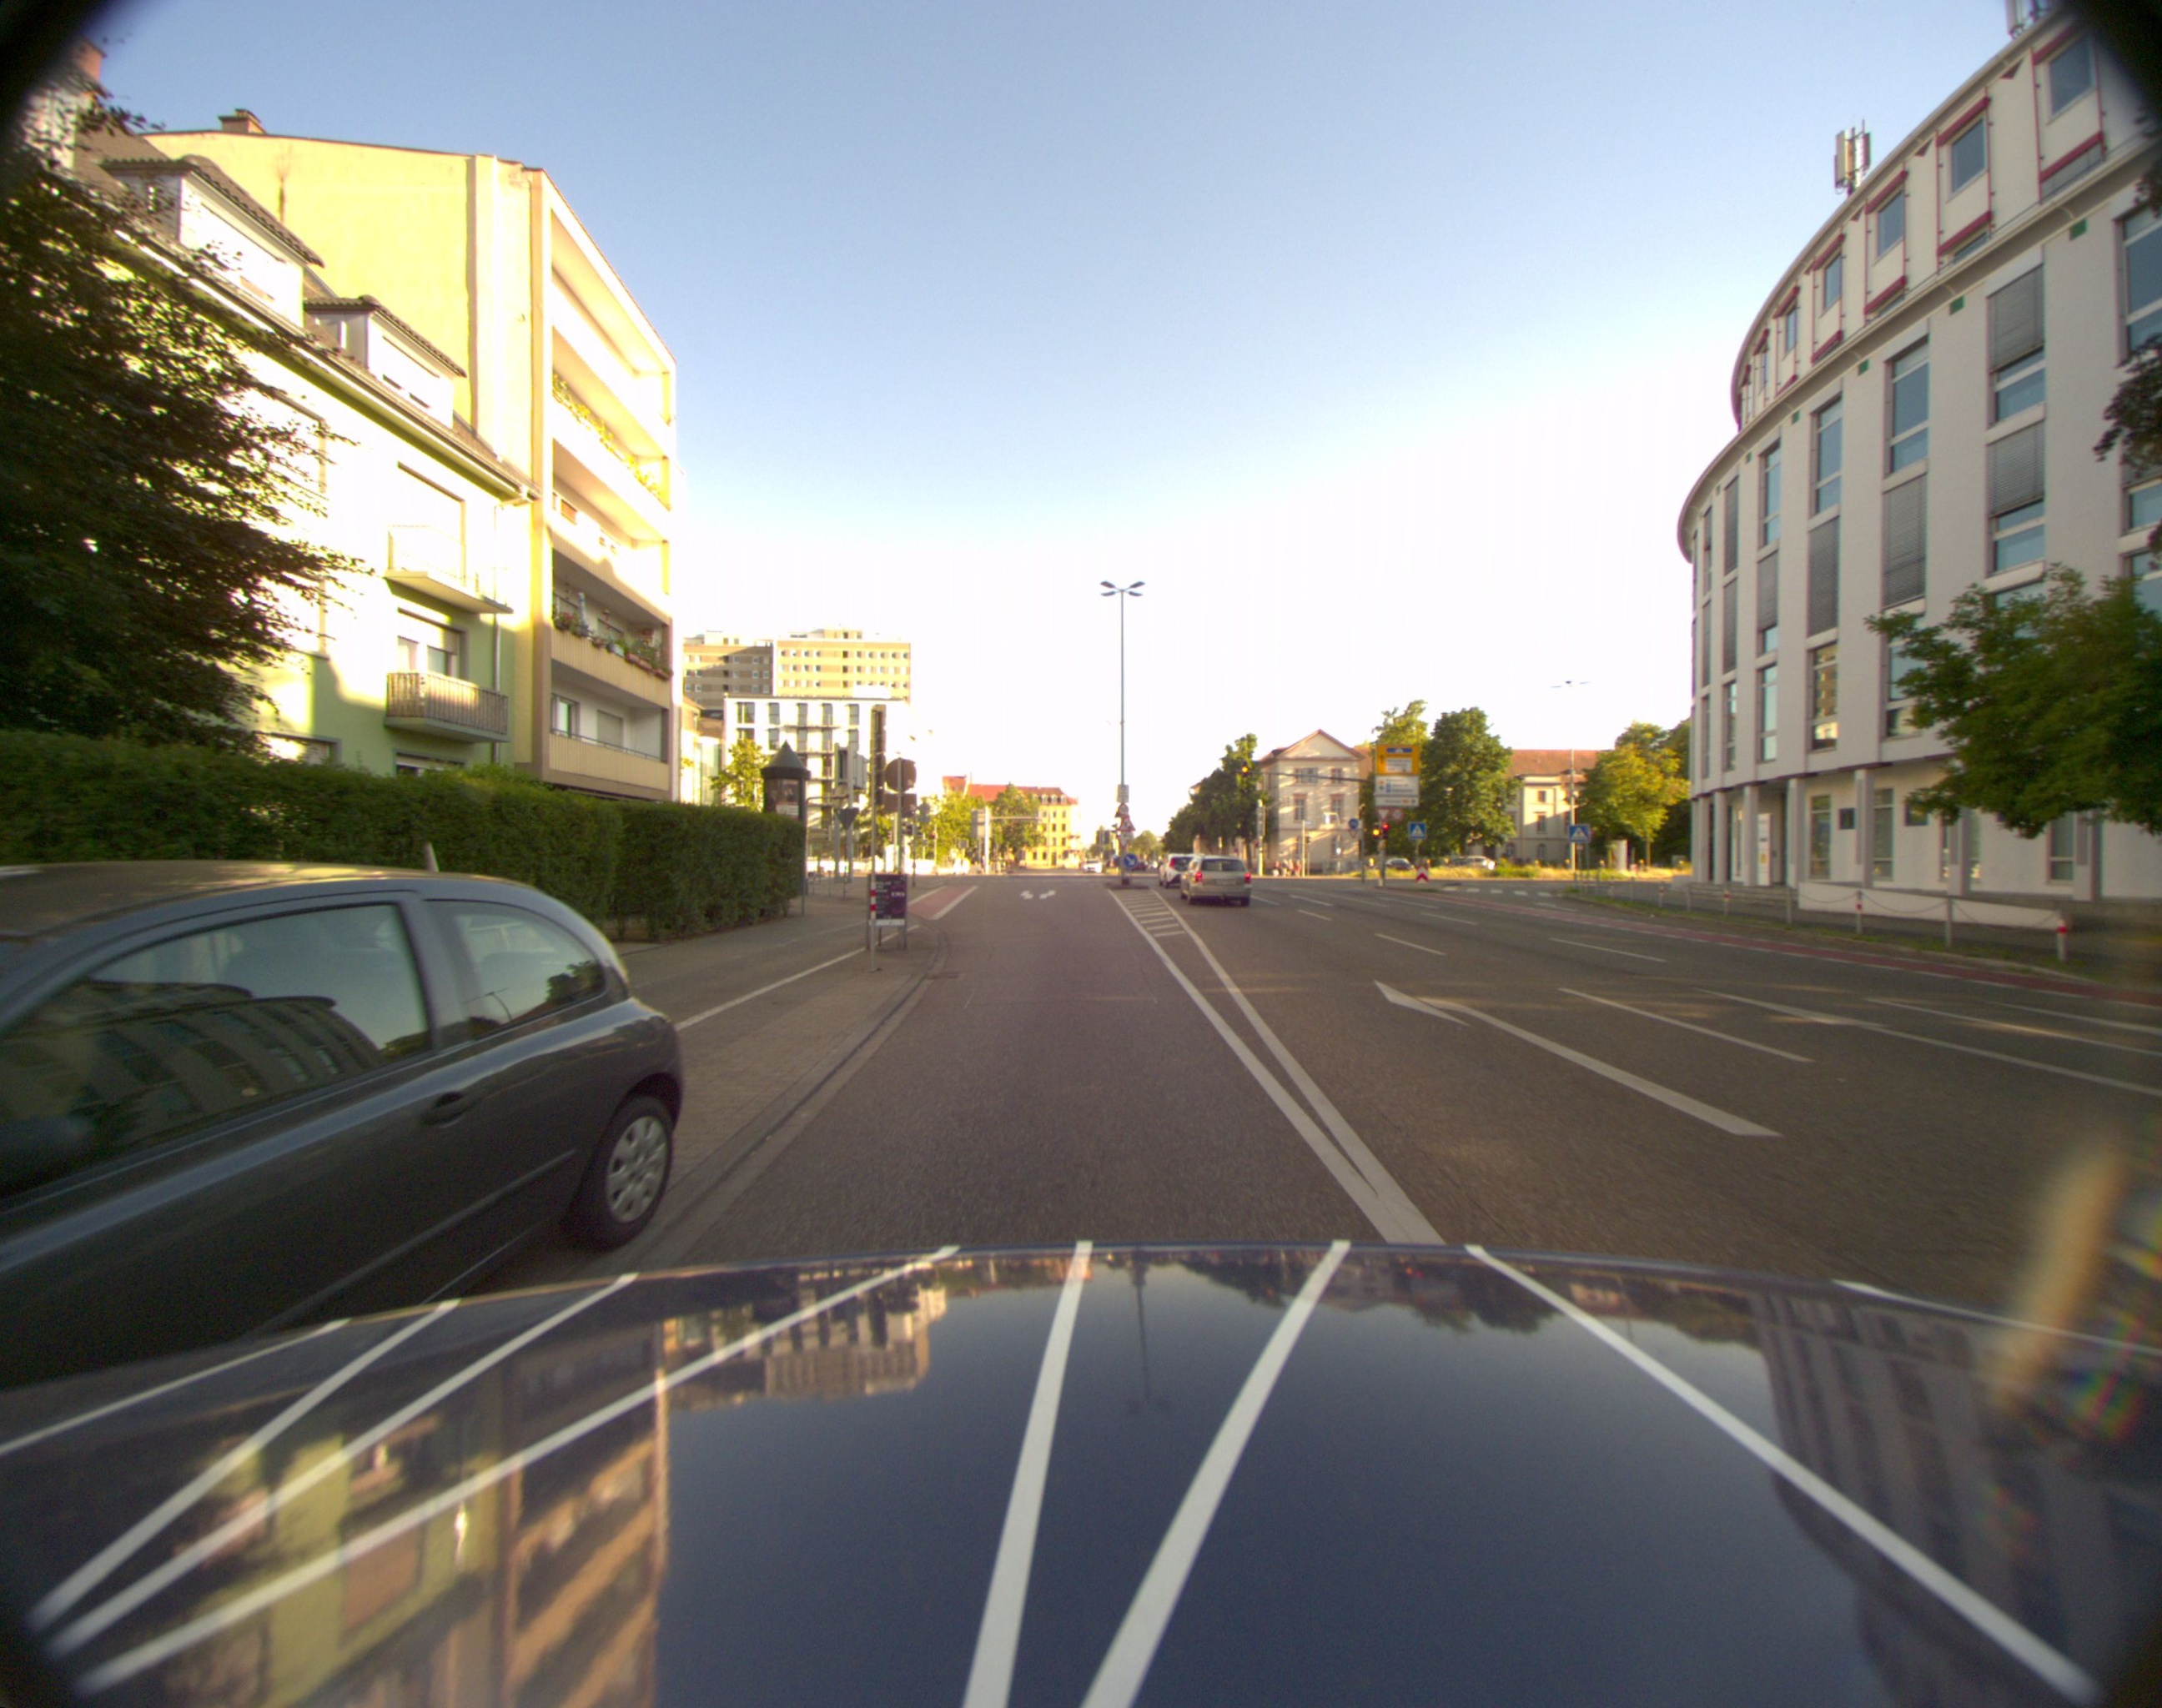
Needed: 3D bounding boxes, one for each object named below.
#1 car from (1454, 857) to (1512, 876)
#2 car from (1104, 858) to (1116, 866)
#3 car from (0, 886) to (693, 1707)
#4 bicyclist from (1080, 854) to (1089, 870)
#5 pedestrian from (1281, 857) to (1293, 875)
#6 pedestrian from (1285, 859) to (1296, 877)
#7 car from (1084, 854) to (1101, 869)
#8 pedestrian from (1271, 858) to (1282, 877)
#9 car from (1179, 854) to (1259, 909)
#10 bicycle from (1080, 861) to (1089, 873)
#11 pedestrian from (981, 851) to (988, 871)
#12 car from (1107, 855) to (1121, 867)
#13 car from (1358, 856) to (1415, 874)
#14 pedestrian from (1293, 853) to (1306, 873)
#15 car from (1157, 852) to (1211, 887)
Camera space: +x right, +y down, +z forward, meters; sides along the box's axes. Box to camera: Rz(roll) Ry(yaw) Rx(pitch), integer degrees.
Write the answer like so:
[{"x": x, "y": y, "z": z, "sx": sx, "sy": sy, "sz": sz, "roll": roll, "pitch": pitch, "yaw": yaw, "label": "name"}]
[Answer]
[{"x": 32.200, "y": 0.994, "z": 60.929, "sx": 3.646, "sy": 1.437, "sz": 1.999, "roll": 0, "pitch": 0, "yaw": -4, "label": "car"}, {"x": 4.829, "y": 1.354, "z": 128.153, "sx": 1.765, "sy": 1.454, "sz": 4.292, "roll": 0, "pitch": 0, "yaw": -2, "label": "car"}, {"x": -2.626, "y": 0.907, "z": 1.602, "sx": 1.737, "sy": 1.542, "sz": 3.646, "roll": 0, "pitch": 0, "yaw": 0, "label": "car"}, {"x": 0.328, "y": 0.786, "z": 74.395, "sx": 0.838, "sy": 1.594, "sz": 1.023, "roll": 0, "pitch": 0, "yaw": -2, "label": "bicyclist"}, {"x": 19.382, "y": 1.092, "z": 71.431, "sx": 0.678, "sy": 1.698, "sz": 1.084, "roll": 0, "pitch": 0, "yaw": -9, "label": "pedestrian"}, {"x": 18.671, "y": 1.236, "z": 67.689, "sx": 0.678, "sy": 1.641, "sz": 0.882, "roll": 0, "pitch": 0, "yaw": -9, "label": "pedestrian"}, {"x": 1.186, "y": 0.798, "z": 78.621, "sx": 1.764, "sy": 1.489, "sz": 3.708, "roll": 0, "pitch": 0, "yaw": 0, "label": "car"}, {"x": 17.316, "y": 1.175, "z": 67.428, "sx": 0.621, "sy": 1.641, "sz": 0.889, "roll": 0, "pitch": 0, "yaw": -9, "label": "pedestrian"}, {"x": 4.104, "y": 0.763, "z": 23.303, "sx": 1.832, "sy": 1.505, "sz": 4.605, "roll": 0, "pitch": 0, "yaw": 3, "label": "car"}, {"x": 0.311, "y": 1.240, "z": 74.234, "sx": 0.834, "sy": 1.101, "sz": 2.080, "roll": 0, "pitch": 0, "yaw": -2, "label": "bicycle"}, {"x": -8.897, "y": 0.627, "z": 70.167, "sx": 0.500, "sy": 1.866, "sz": 0.601, "roll": 0, "pitch": 0, "yaw": -29, "label": "pedestrian"}, {"x": 4.900, "y": 1.050, "z": 113.713, "sx": 1.832, "sy": 1.836, "sz": 4.946, "roll": 0, "pitch": 0, "yaw": -1, "label": "car"}, {"x": 24.032, "y": 0.850, "z": 59.902, "sx": 3.646, "sy": 1.437, "sz": 1.999, "roll": 0, "pitch": 0, "yaw": -4, "label": "car"}, {"x": 20.546, "y": 0.821, "z": 71.446, "sx": 0.821, "sy": 1.838, "sz": 1.169, "roll": 0, "pitch": 0, "yaw": -9, "label": "pedestrian"}, {"x": 4.510, "y": 0.664, "z": 33.685, "sx": 1.832, "sy": 1.452, "sz": 3.902, "roll": 0, "pitch": 0, "yaw": 0, "label": "car"}]
